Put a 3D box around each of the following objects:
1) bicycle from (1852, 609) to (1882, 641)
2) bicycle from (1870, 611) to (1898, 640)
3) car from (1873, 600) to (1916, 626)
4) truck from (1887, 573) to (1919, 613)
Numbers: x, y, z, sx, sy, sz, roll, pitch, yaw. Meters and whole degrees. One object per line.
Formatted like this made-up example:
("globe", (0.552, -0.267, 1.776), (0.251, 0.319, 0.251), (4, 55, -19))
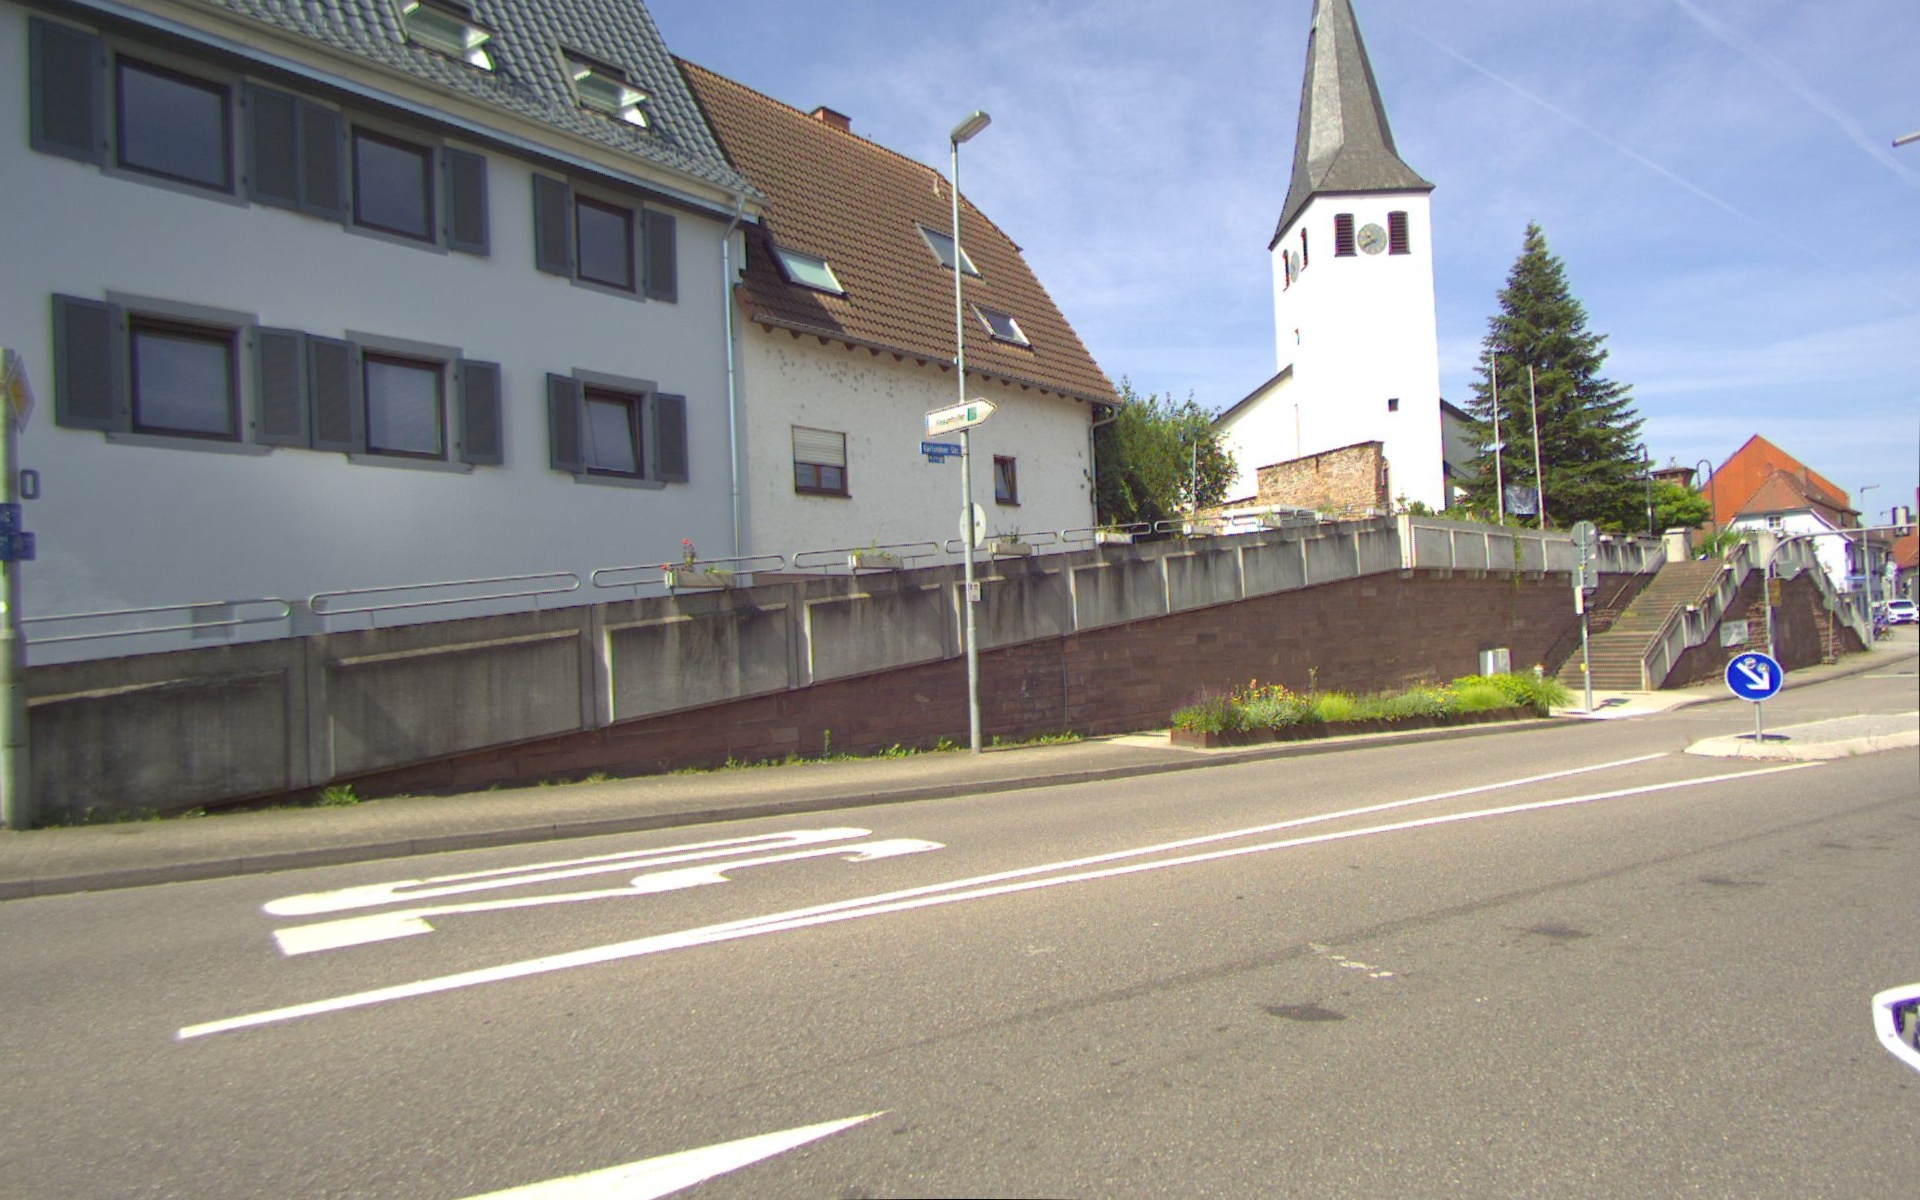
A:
("bicycle", (53.511, 1.455, 59.273), (2.640, 1.803, 0.637), (0, 0, -32))
("bicycle", (53.081, 1.457, 57.715), (2.534, 1.629, 0.555), (0, 0, -32))
("car", (77.700, 1.049, 83.596), (2.111, 1.992, 5.255), (-4, -3, 38))
("truck", (89.364, -0.563, 92.976), (3.114, 3.506, 10.688), (0, -1, 31))
